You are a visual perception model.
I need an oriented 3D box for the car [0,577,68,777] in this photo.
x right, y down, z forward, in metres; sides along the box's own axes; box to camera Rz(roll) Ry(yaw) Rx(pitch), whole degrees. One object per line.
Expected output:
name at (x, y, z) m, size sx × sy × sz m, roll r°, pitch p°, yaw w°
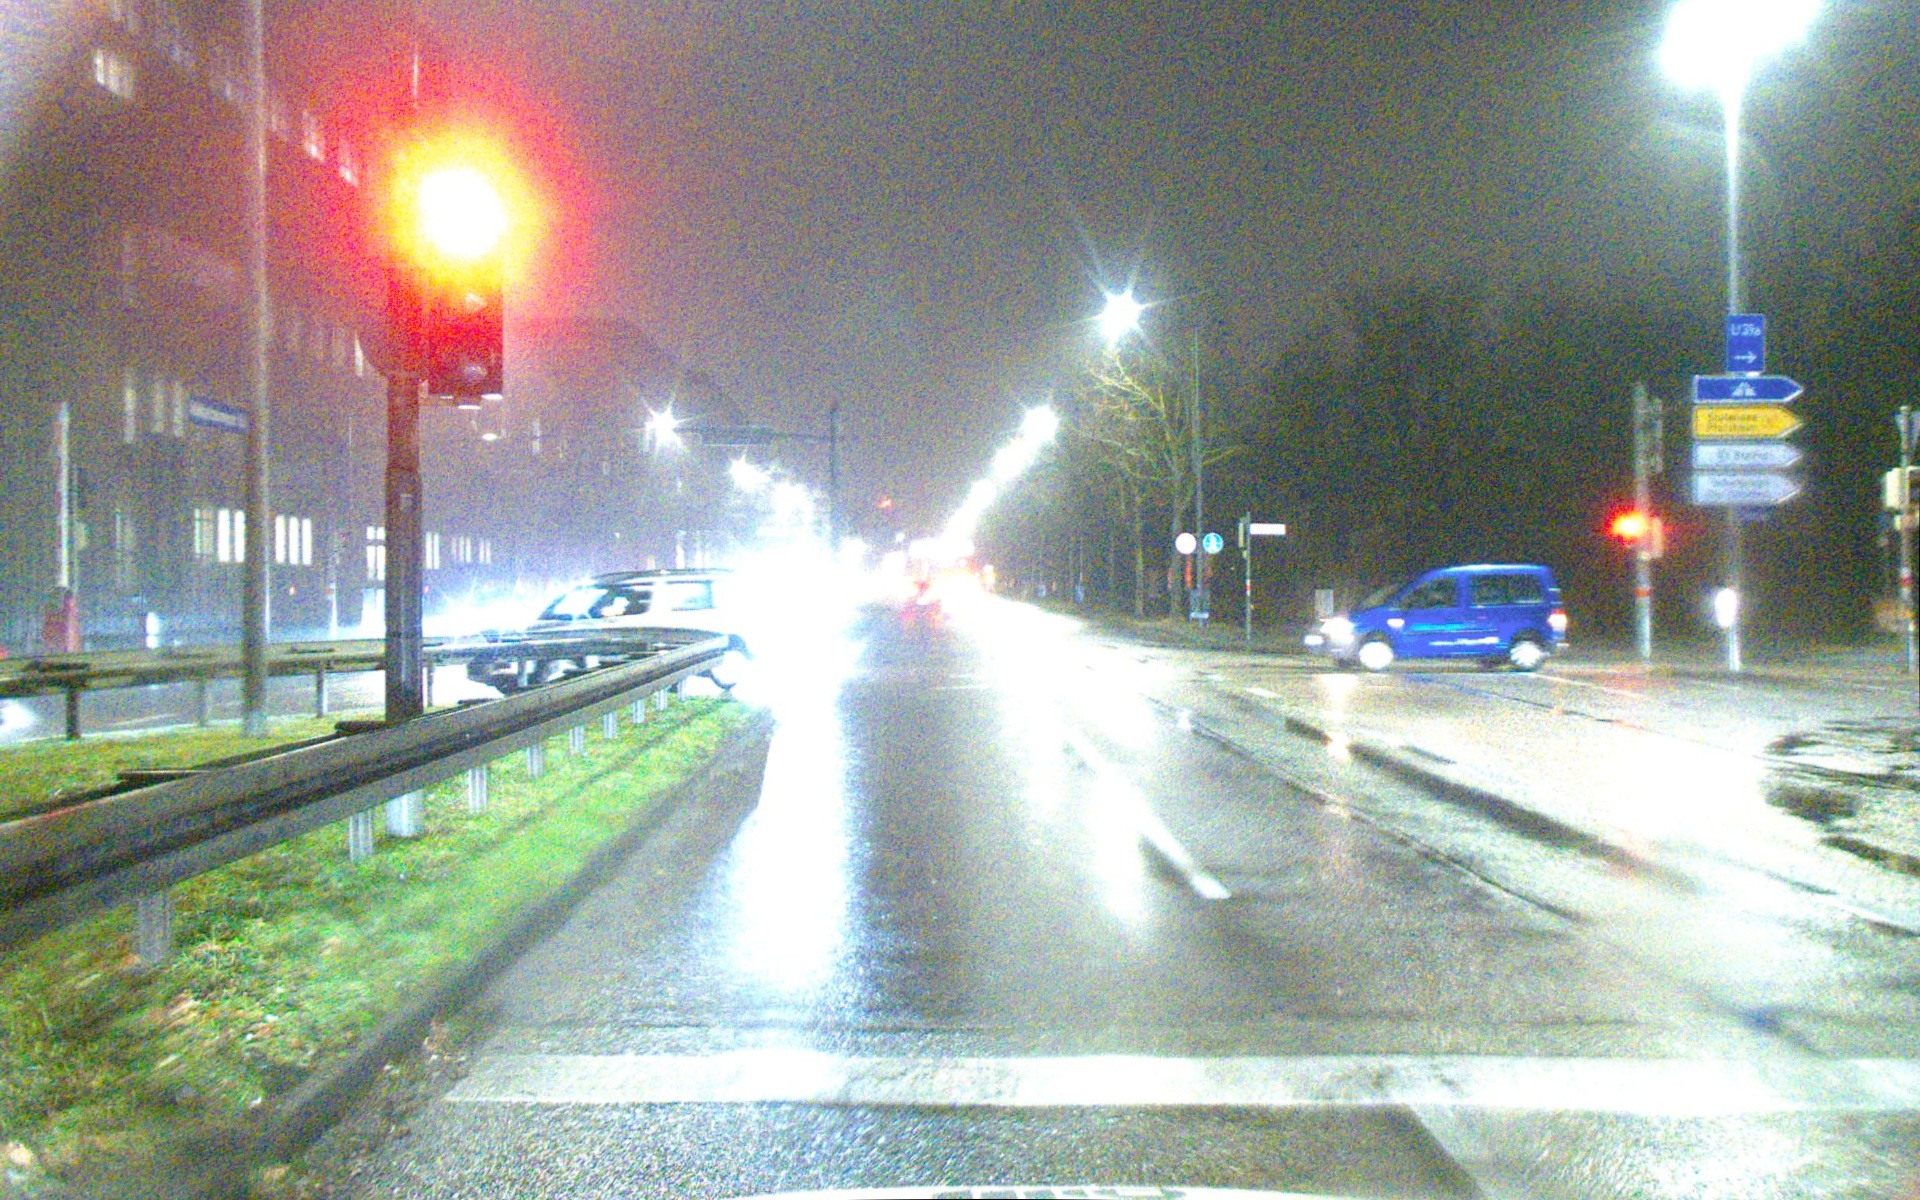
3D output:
car at (-9.952, 0.651, 13.313) m, size 1.923 × 1.771 × 4.921 m, roll 1°, pitch 0°, yaw 17°

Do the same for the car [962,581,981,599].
car at (1.199, -1.073, 173.343) m, size 1.953 × 1.790 × 3.999 m, roll 1°, pitch 0°, yaw -1°

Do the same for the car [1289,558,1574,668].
car at (8.126, 0.223, 28.752) m, size 4.401 × 1.780 × 1.859 m, roll 1°, pitch 0°, yaw -3°

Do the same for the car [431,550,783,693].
car at (-4.772, 0.293, 22.691) m, size 4.357 × 1.771 × 1.882 m, roll 1°, pitch 0°, yaw -40°

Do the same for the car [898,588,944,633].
car at (-1.885, 0.479, 78.869) m, size 1.954 × 2.049 × 4.628 m, roll 1°, pitch 0°, yaw -4°
